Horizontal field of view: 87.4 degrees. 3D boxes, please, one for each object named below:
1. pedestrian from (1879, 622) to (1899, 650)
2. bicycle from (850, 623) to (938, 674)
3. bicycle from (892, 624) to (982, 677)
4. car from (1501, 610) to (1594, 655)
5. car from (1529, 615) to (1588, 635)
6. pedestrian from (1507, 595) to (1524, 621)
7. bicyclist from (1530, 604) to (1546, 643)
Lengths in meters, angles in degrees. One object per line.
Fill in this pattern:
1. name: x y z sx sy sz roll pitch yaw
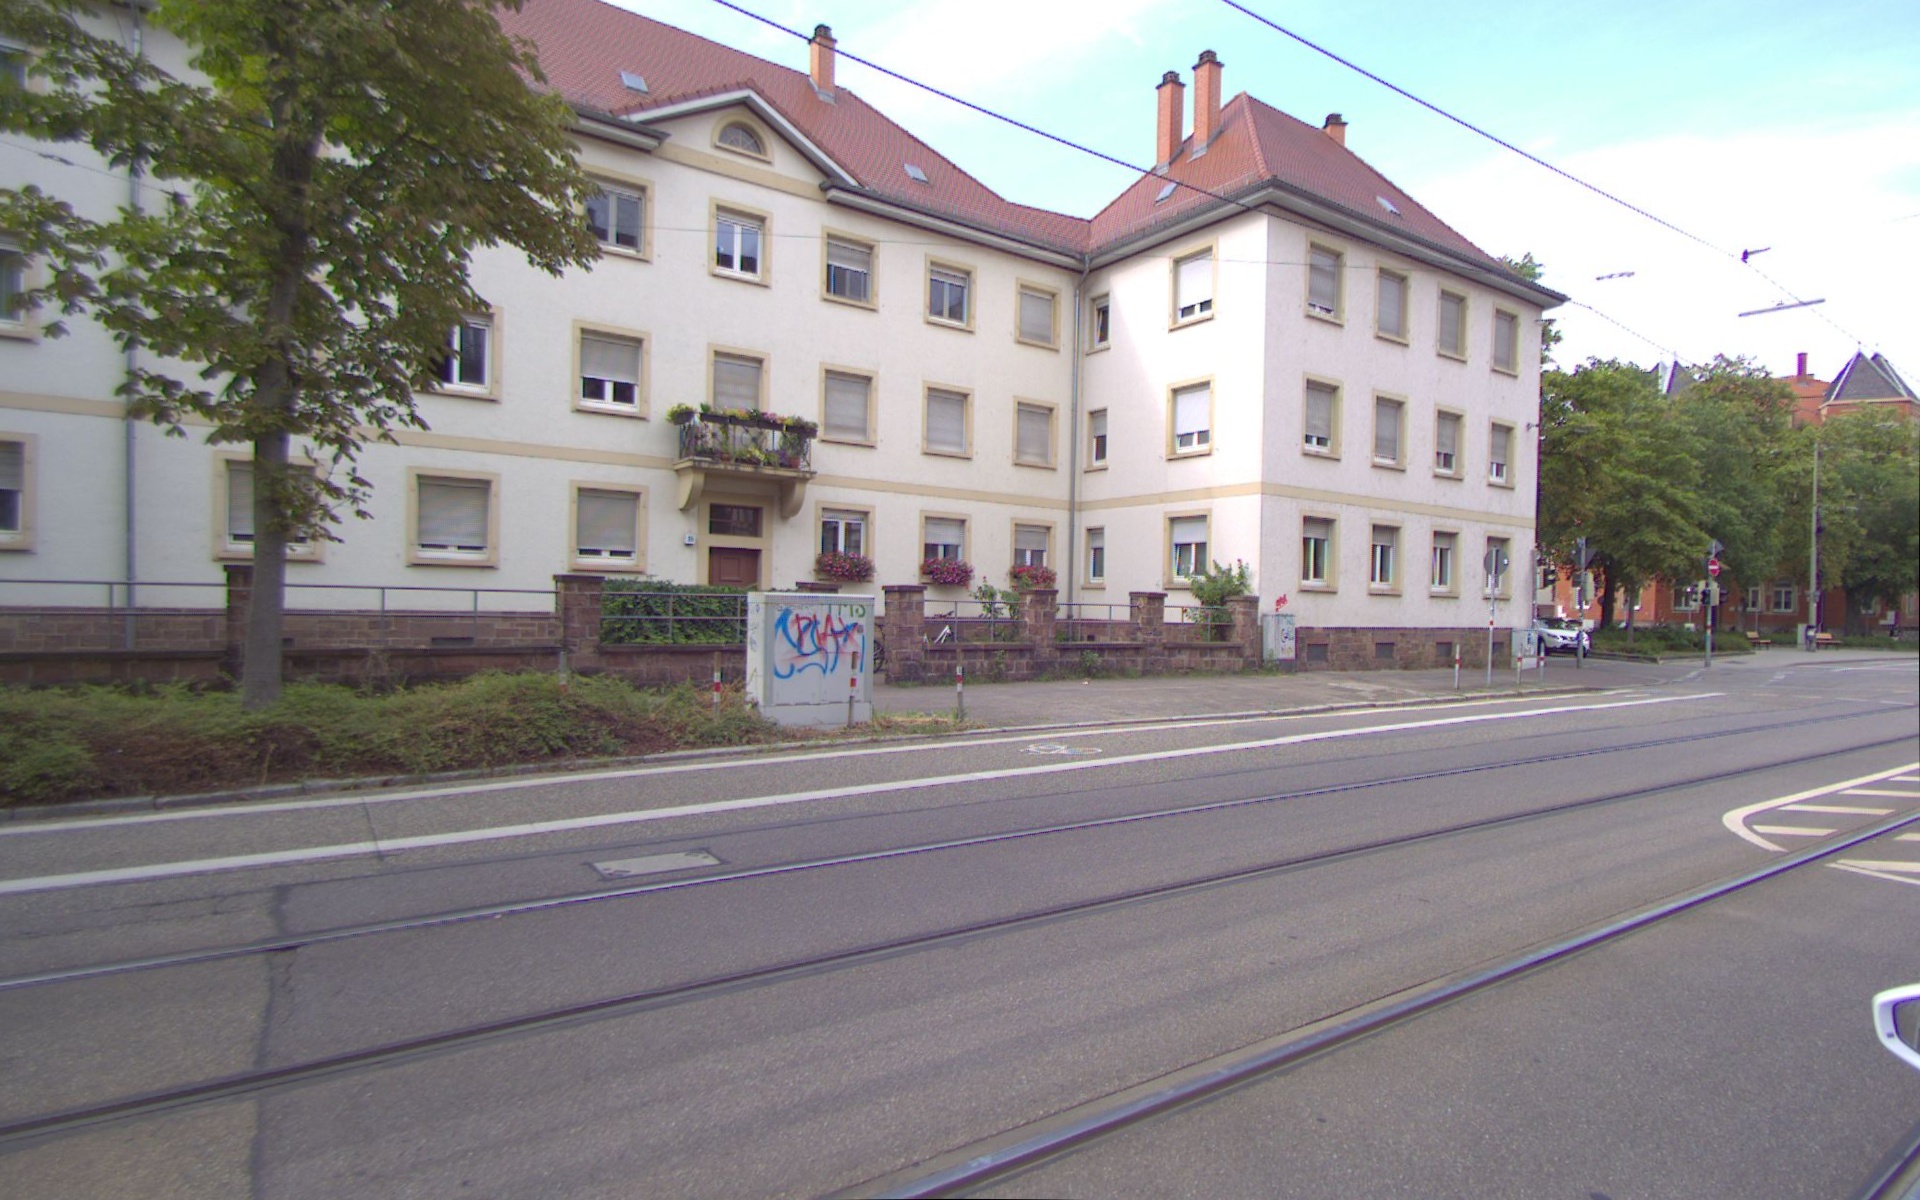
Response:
1. pedestrian: 58.674 2.277 63.419 0.726 1.726 0.826 1 0 -39
2. bicycle: -1.232 0.897 19.003 1.655 0.927 0.474 1 0 -34
3. bicycle: -0.416 0.911 18.396 1.655 0.927 0.474 1 0 -34
4. car: 24.720 1.397 42.412 1.804 1.743 4.162 2 -2 6
5. car: 47.372 1.945 79.614 1.783 1.497 3.992 1 0 -11
6. pedestrian: 39.294 0.569 71.066 0.720 1.777 0.751 1 0 -16
7. bicyclist: 27.056 1.101 47.008 0.601 1.799 0.909 1 0 28
